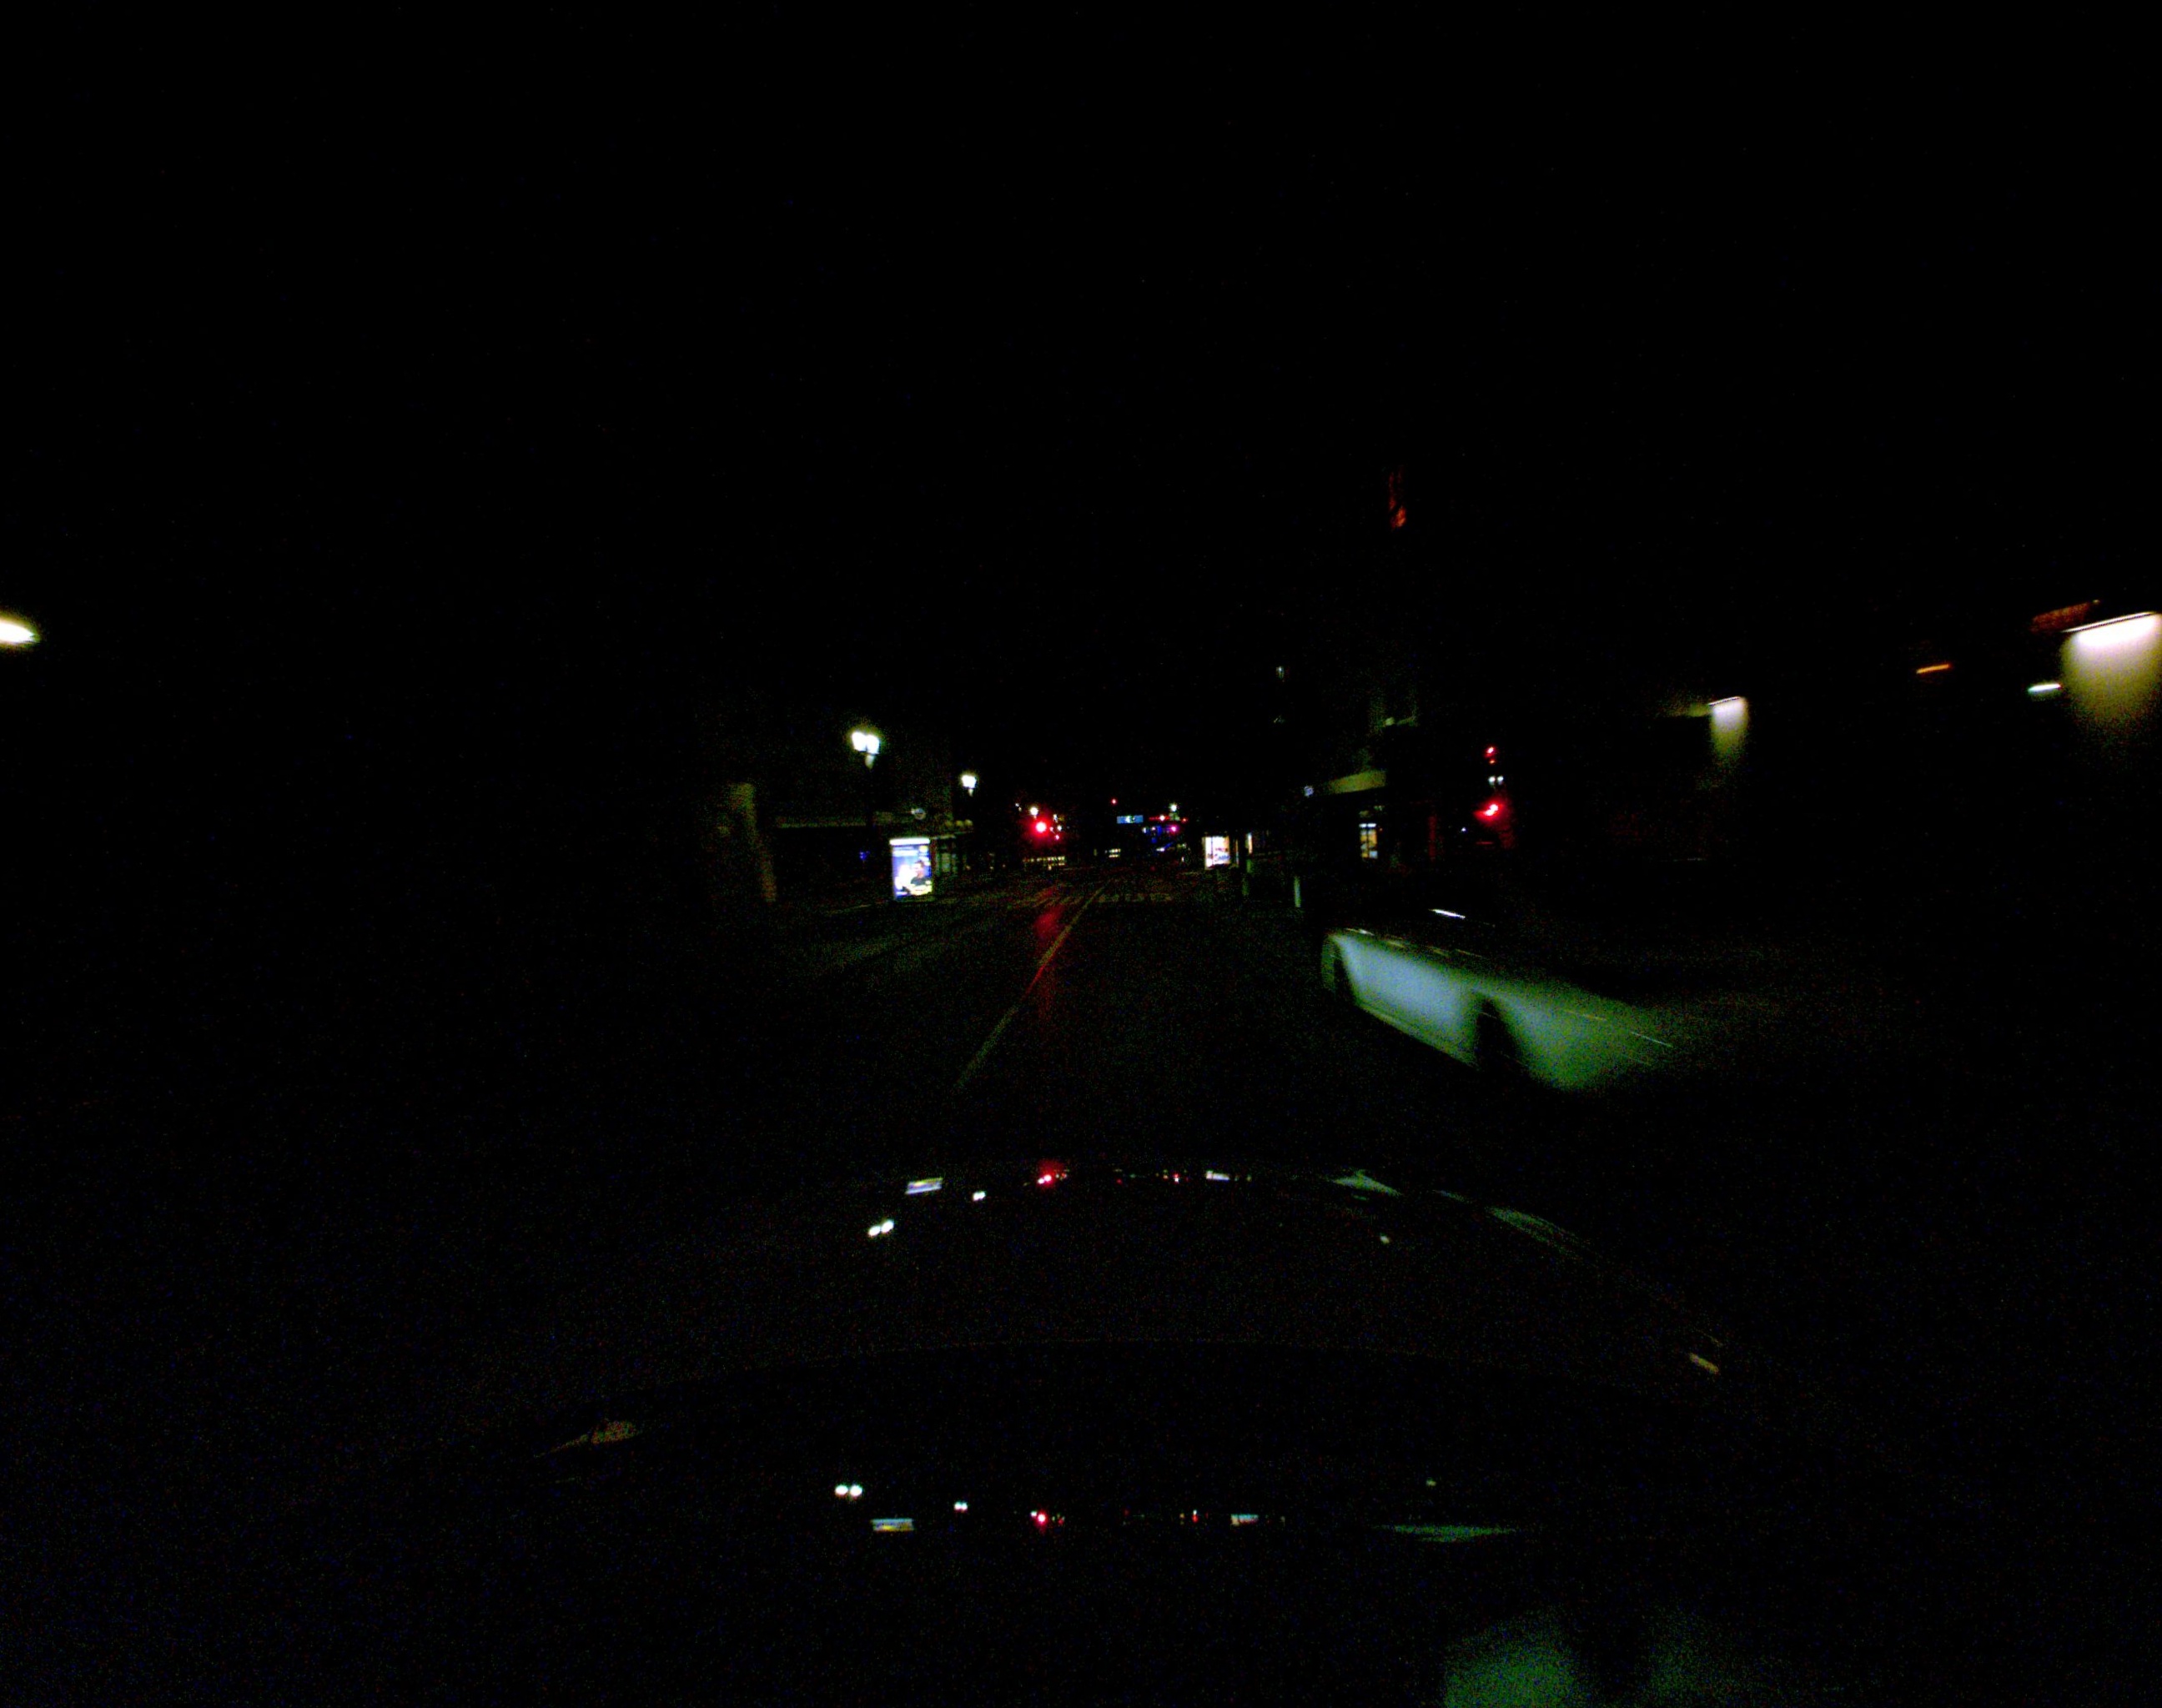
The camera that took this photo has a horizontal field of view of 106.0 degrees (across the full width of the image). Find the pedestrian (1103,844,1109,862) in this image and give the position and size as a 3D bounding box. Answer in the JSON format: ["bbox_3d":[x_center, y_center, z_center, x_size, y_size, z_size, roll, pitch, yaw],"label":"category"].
[{"bbox_3d":[2.573,-0.063,83.122,0.566,1.795,0.718,-2,-1,-1],"label":"pedestrian"}]

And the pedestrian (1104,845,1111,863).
[{"bbox_3d":[2.627,-0.014,80.958,0.566,1.795,0.718,-2,-1,-1],"label":"pedestrian"}]

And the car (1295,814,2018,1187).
[{"bbox_3d":[3.041,0.621,5.750,1.851,1.442,4.595,-4,0,1],"label":"car"}]

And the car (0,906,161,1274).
[{"bbox_3d":[-5.259,0.989,1.776,1.685,1.436,4.131,-1,0,3],"label":"car"}]

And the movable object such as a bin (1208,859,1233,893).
[{"bbox_3d":[3.962,0.632,23.127,0.523,0.937,0.628,-2,-1,-7],"label":"movable object such as a bin"}]

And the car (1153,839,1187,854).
[{"bbox_3d":[10.795,-0.889,98.822,3.760,1.618,1.825,-2,-1,-16],"label":"car"}]

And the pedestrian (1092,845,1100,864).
[{"bbox_3d":[1.475,0.028,79.999,0.712,1.795,0.571,-2,-1,8],"label":"pedestrian"}]

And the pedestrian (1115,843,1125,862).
[{"bbox_3d":[3.856,-0.158,80.774,0.572,1.795,0.710,-1,-2,-35],"label":"pedestrian"}]

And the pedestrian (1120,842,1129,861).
[{"bbox_3d":[4.257,-0.217,80.102,0.730,1.795,0.720,-2,-1,12],"label":"pedestrian"}]
